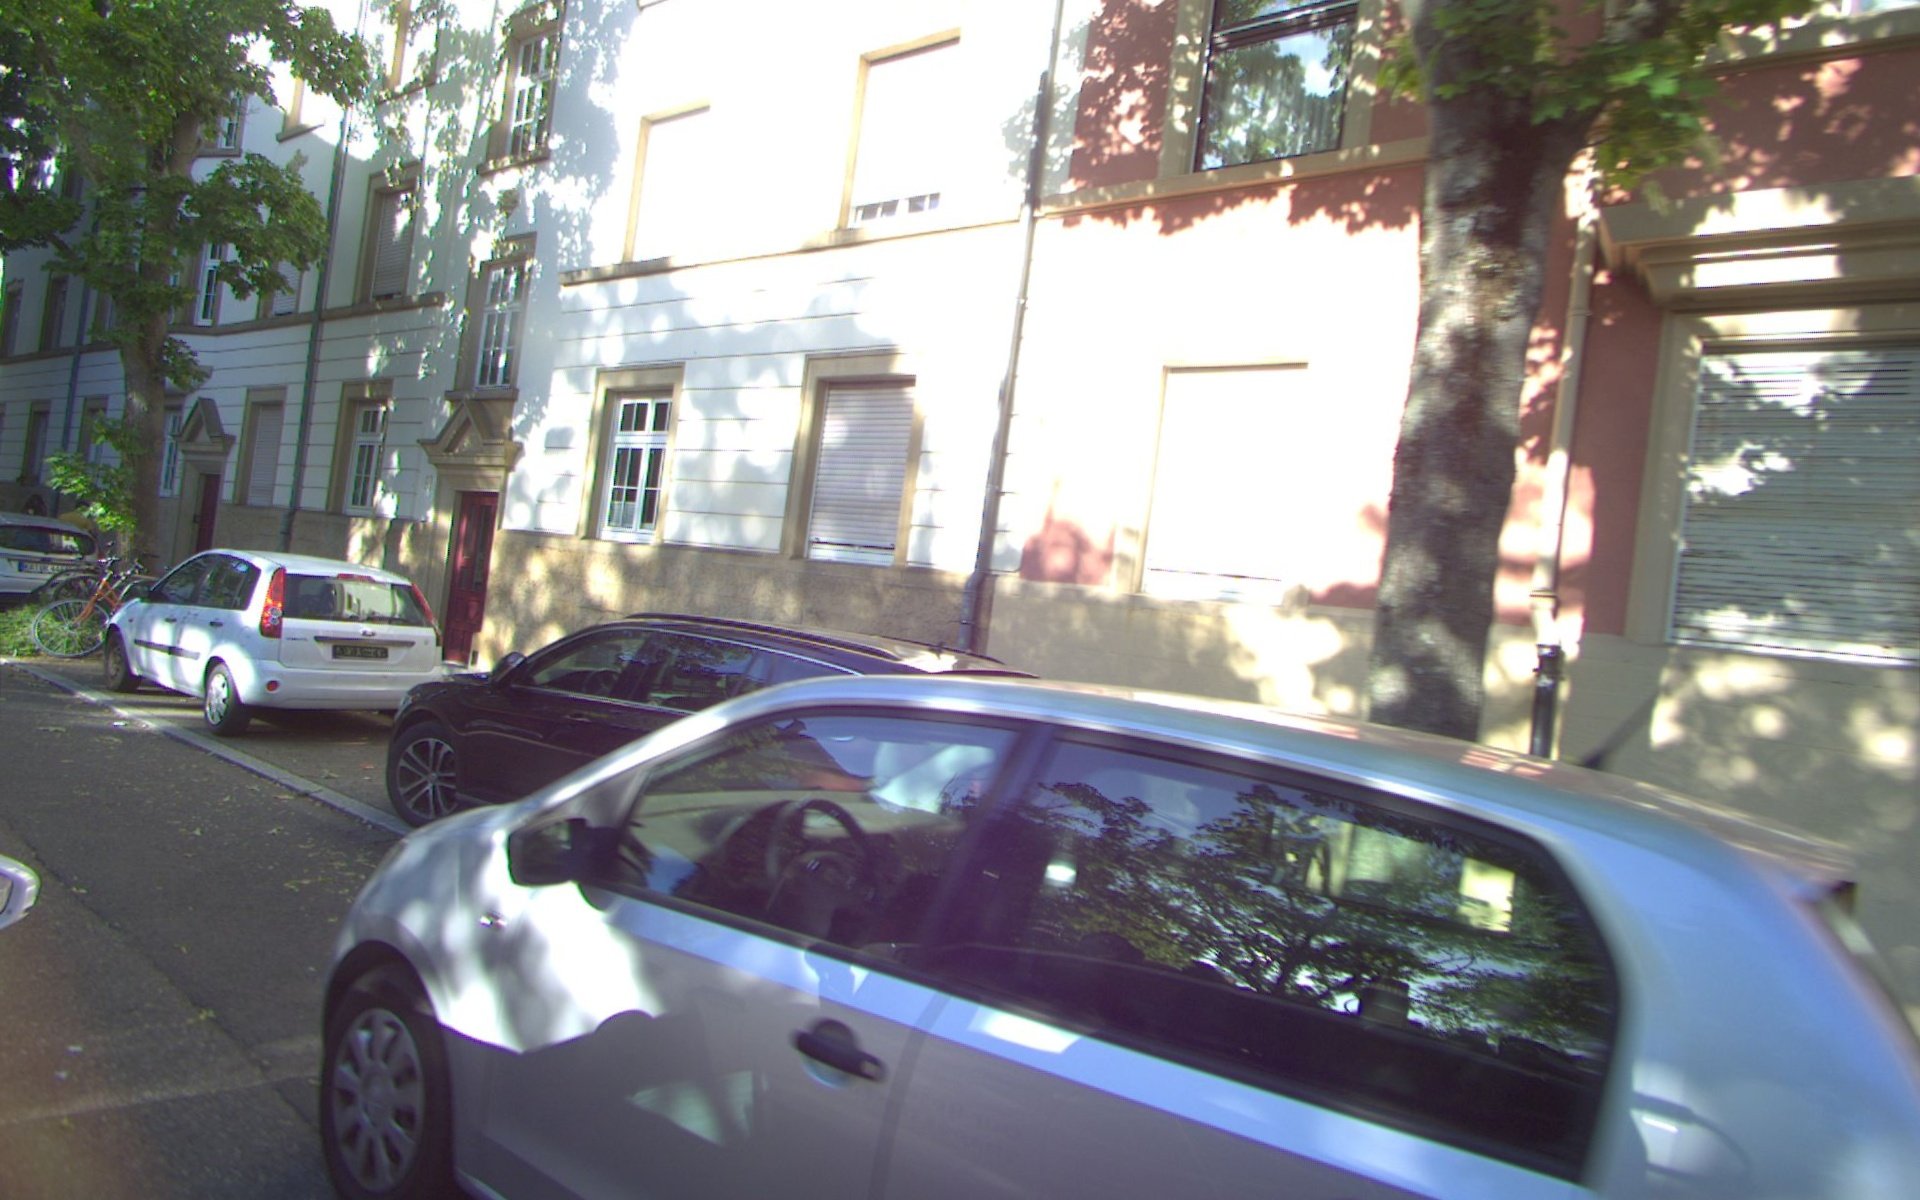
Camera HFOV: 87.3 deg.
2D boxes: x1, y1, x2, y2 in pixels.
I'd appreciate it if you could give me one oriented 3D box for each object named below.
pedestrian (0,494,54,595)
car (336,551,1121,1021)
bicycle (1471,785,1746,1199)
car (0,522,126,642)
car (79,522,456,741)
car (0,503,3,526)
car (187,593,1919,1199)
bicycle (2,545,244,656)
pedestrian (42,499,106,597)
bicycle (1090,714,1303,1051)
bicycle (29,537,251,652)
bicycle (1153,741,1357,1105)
[{"bbox_3d":[-17.260,-1.028,18.542,0.864,1.756,0.520,7,0,36],"label":"pedestrian"},{"bbox_3d":[-1.526,0.753,5.848,4.388,1.531,1.789,6,-2,34],"label":"car"},{"bbox_3d":[2.338,1.402,3.662,0.560,1.182,1.811,7,1,33],"label":"bicycle"},{"bbox_3d":[-13.685,-0.375,14.363,4.092,1.411,1.623,6,-1,35],"label":"car"},{"bbox_3d":[-6.518,0.225,9.357,3.689,1.506,1.597,6,0,35],"label":"car"},{"bbox_3d":[-18.420,-1.129,17.702,3.488,1.529,1.521,6,-1,35],"label":"car"},{"bbox_3d":[0.037,1.027,2.357,3.739,1.562,1.682,7,-2,34],"label":"car"},{"bbox_3d":[-9.421,0.042,11.415,0.590,1.086,1.969,7,0,35],"label":"bicycle"},{"bbox_3d":[-16.771,-0.983,19.052,0.678,1.721,0.596,7,-2,36],"label":"pedestrian"},{"bbox_3d":[1.050,1.093,4.262,0.322,1.154,1.308,7,0,34],"label":"bicycle"},{"bbox_3d":[-10.244,-0.030,12.643,0.748,1.244,1.969,7,0,35],"label":"bicycle"},{"bbox_3d":[1.165,1.122,3.827,0.293,1.089,1.201,7,0,33],"label":"bicycle"}]
